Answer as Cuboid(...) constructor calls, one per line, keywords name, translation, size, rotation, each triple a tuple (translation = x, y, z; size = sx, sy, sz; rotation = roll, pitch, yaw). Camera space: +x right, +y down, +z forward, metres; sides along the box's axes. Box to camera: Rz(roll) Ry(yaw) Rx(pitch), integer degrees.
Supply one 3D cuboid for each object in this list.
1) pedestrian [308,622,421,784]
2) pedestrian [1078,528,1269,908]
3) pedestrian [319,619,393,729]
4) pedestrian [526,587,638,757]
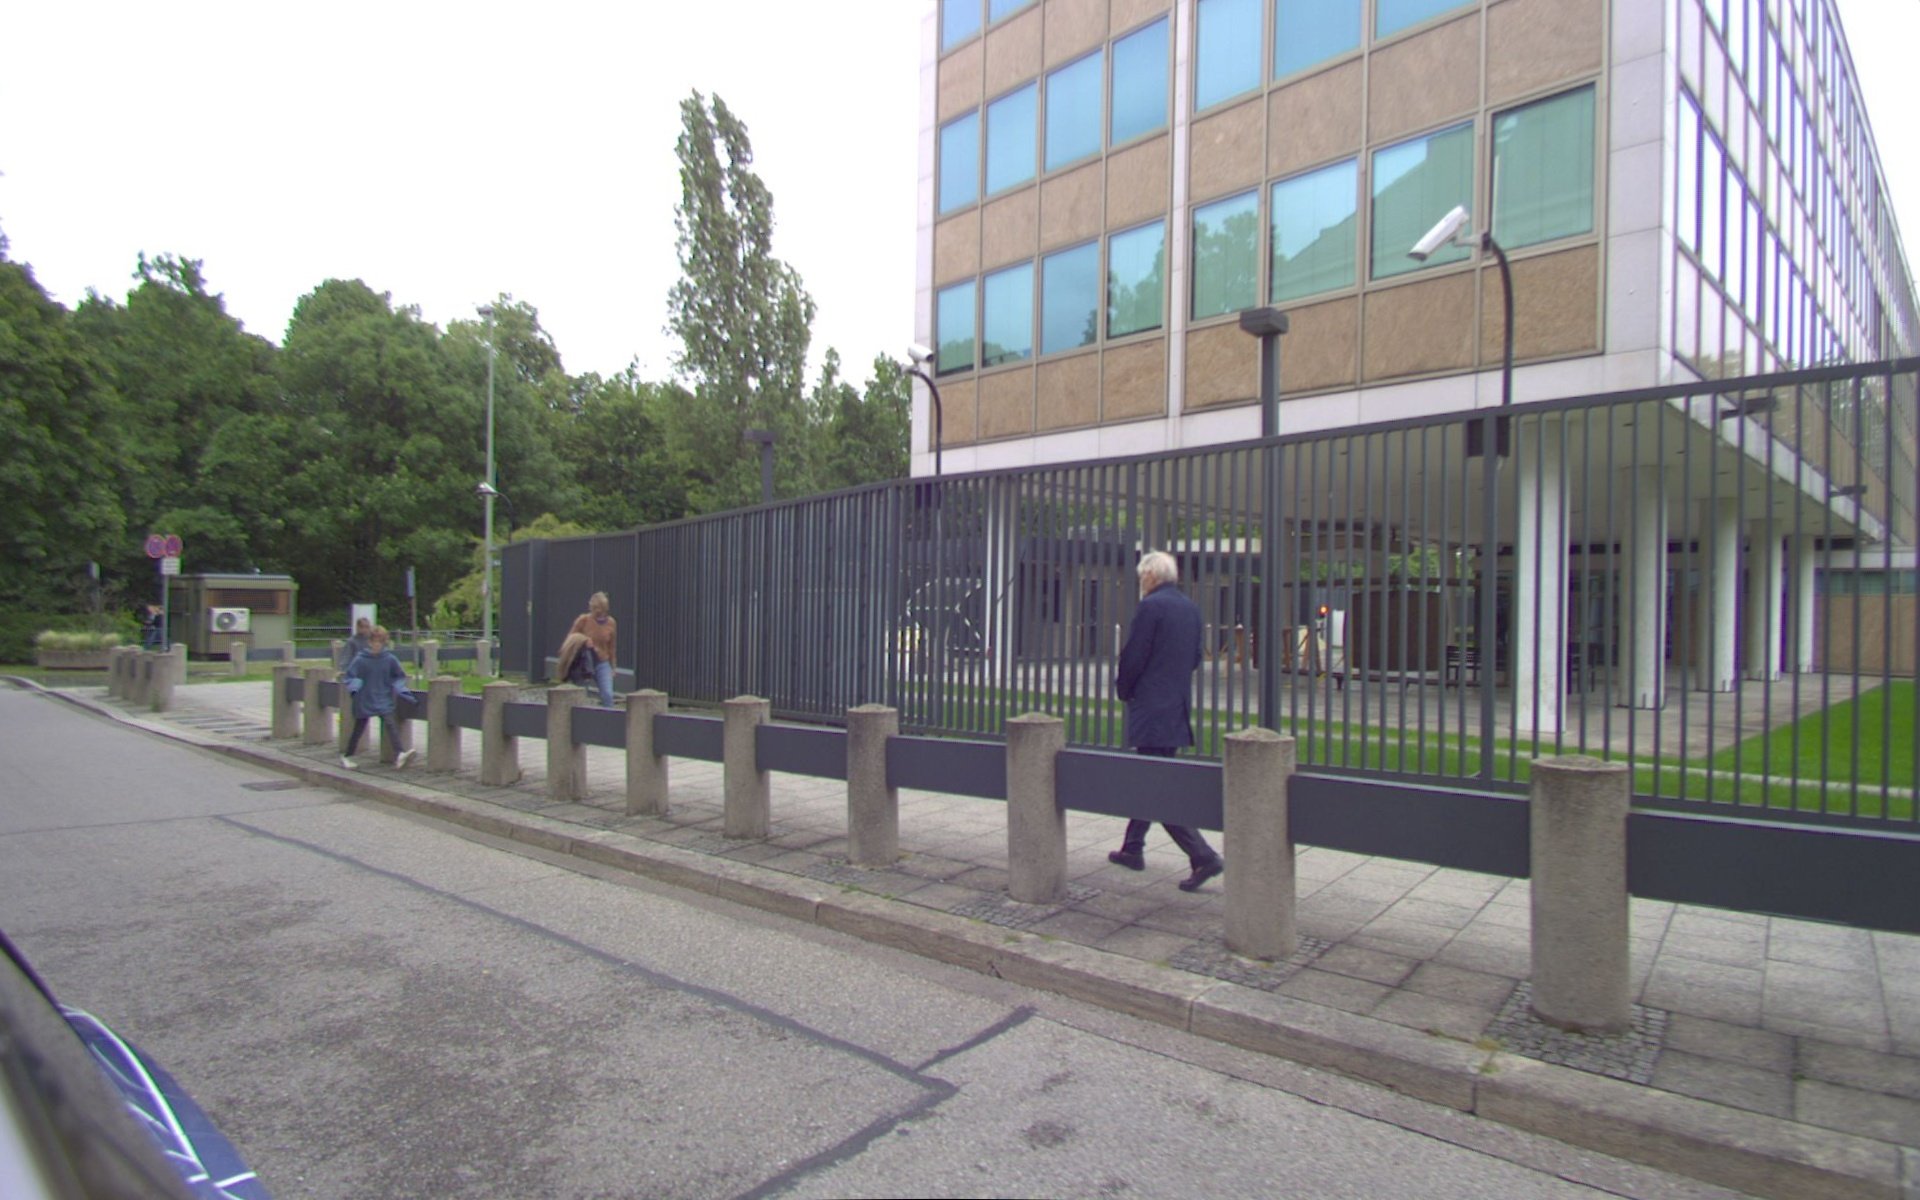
Cuboid(name="pedestrian", translation=(-5.869, 0.968, 9.958), size=(1.078, 1.478, 0.632), rotation=(-1, 0, 41))
Cuboid(name="pedestrian", translation=(1.103, 0.561, 5.248), size=(0.766, 1.782, 0.617), rotation=(-1, -2, 40))
Cuboid(name="pedestrian", translation=(-9.026, 1.070, 15.124), size=(0.768, 1.551, 0.934), rotation=(-1, 0, -42))
Cuboid(name="pedestrian", translation=(-4.120, 0.743, 11.019), size=(0.814, 1.736, 0.906), rotation=(-1, 0, -44))
